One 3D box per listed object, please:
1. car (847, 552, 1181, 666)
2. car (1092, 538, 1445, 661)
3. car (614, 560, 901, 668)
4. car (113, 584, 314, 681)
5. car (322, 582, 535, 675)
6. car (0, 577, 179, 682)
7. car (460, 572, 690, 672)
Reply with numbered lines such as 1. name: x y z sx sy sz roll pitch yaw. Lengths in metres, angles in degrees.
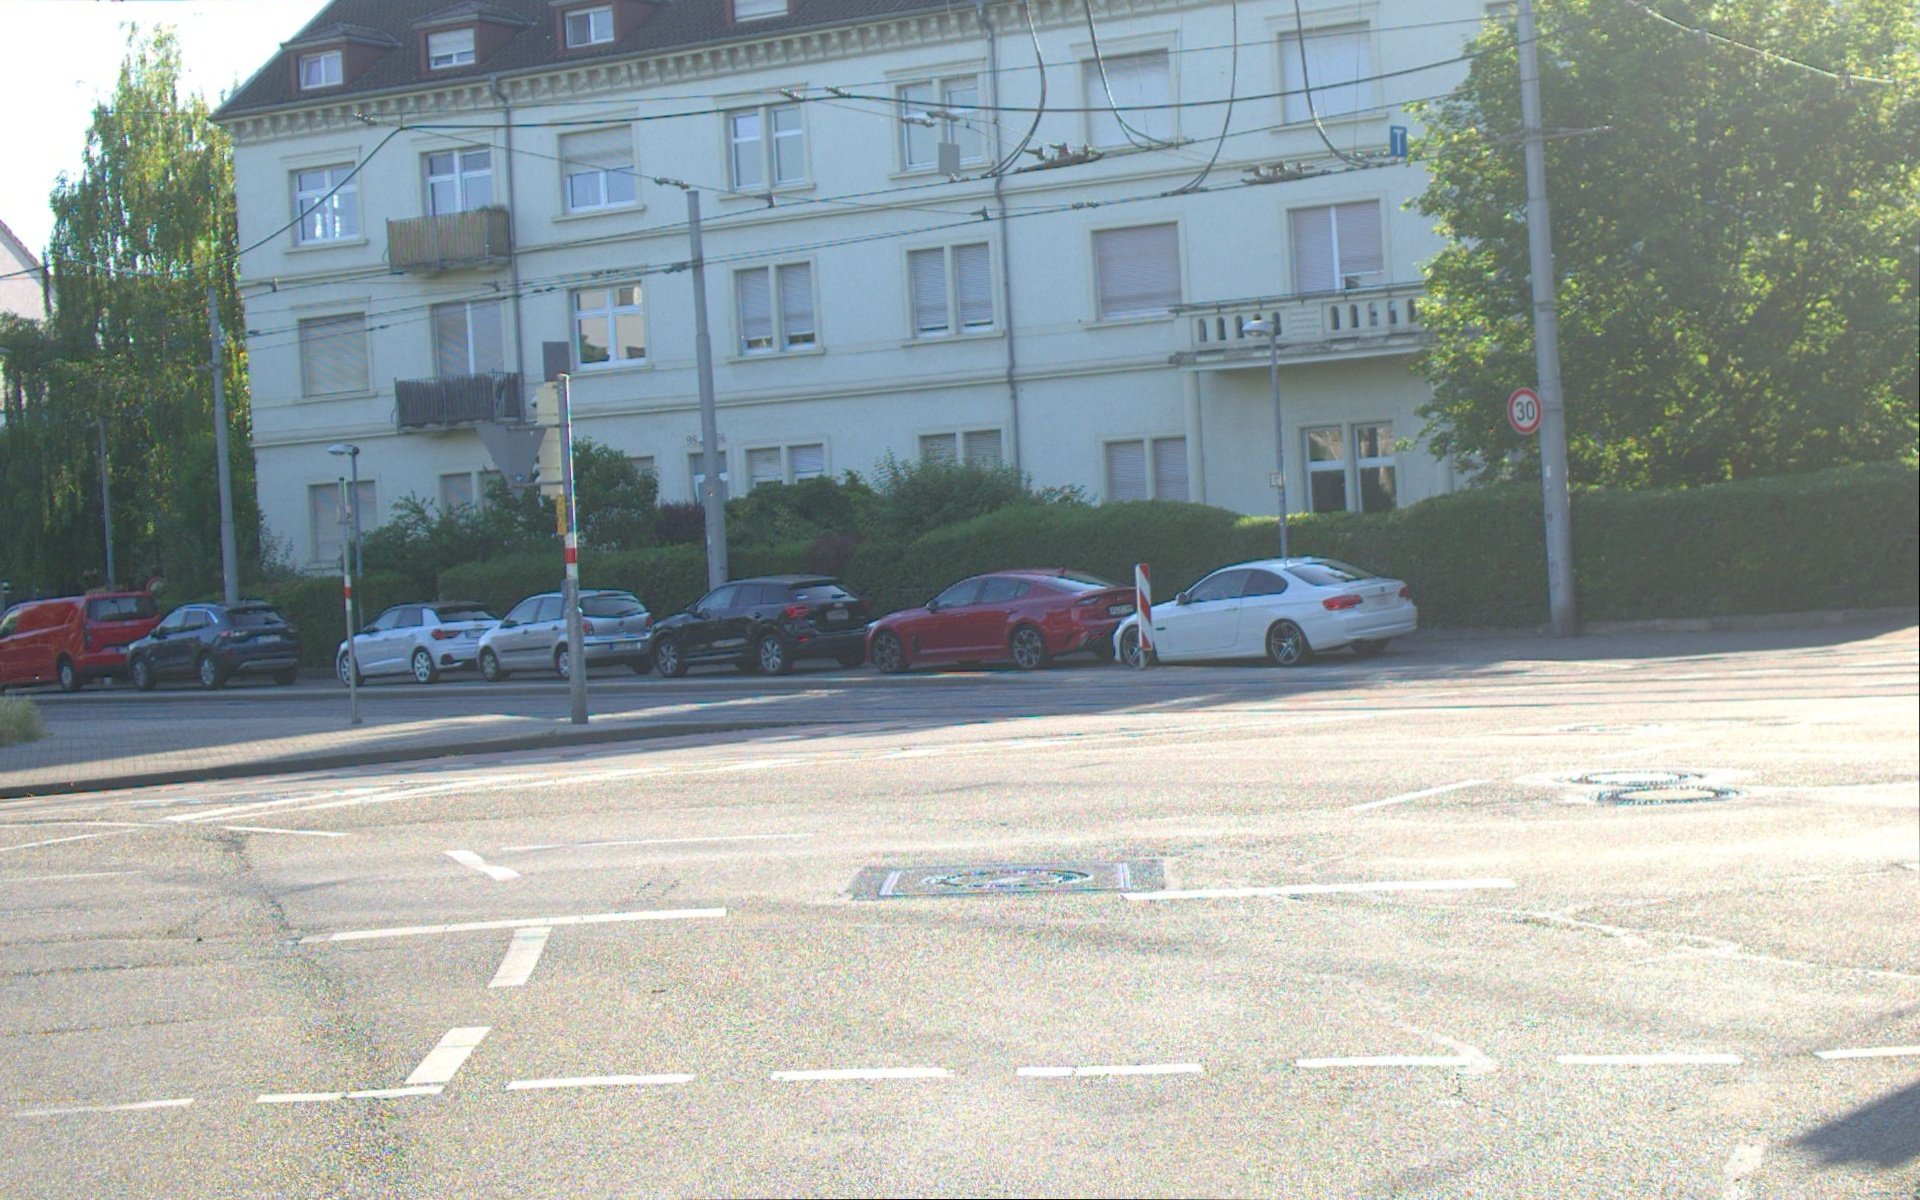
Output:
1. car: 0.748 0.146 50.084 4.702 1.371 1.982 -2 3 44
2. car: 4.087 0.016 46.087 1.926 1.371 4.494 -7 3 -42
3. car: -3.263 0.238 54.594 1.982 1.442 4.703 -7 3 -41
4. car: -14.611 0.659 67.173 1.840 1.662 4.368 -7 3 -41
5. car: -9.510 0.522 61.336 1.840 1.442 3.957 -7 3 -41
6. car: -18.647 0.646 72.214 2.051 1.955 5.148 -7 3 -41
7. car: -6.497 0.375 57.841 1.982 1.442 3.717 -7 3 -41
